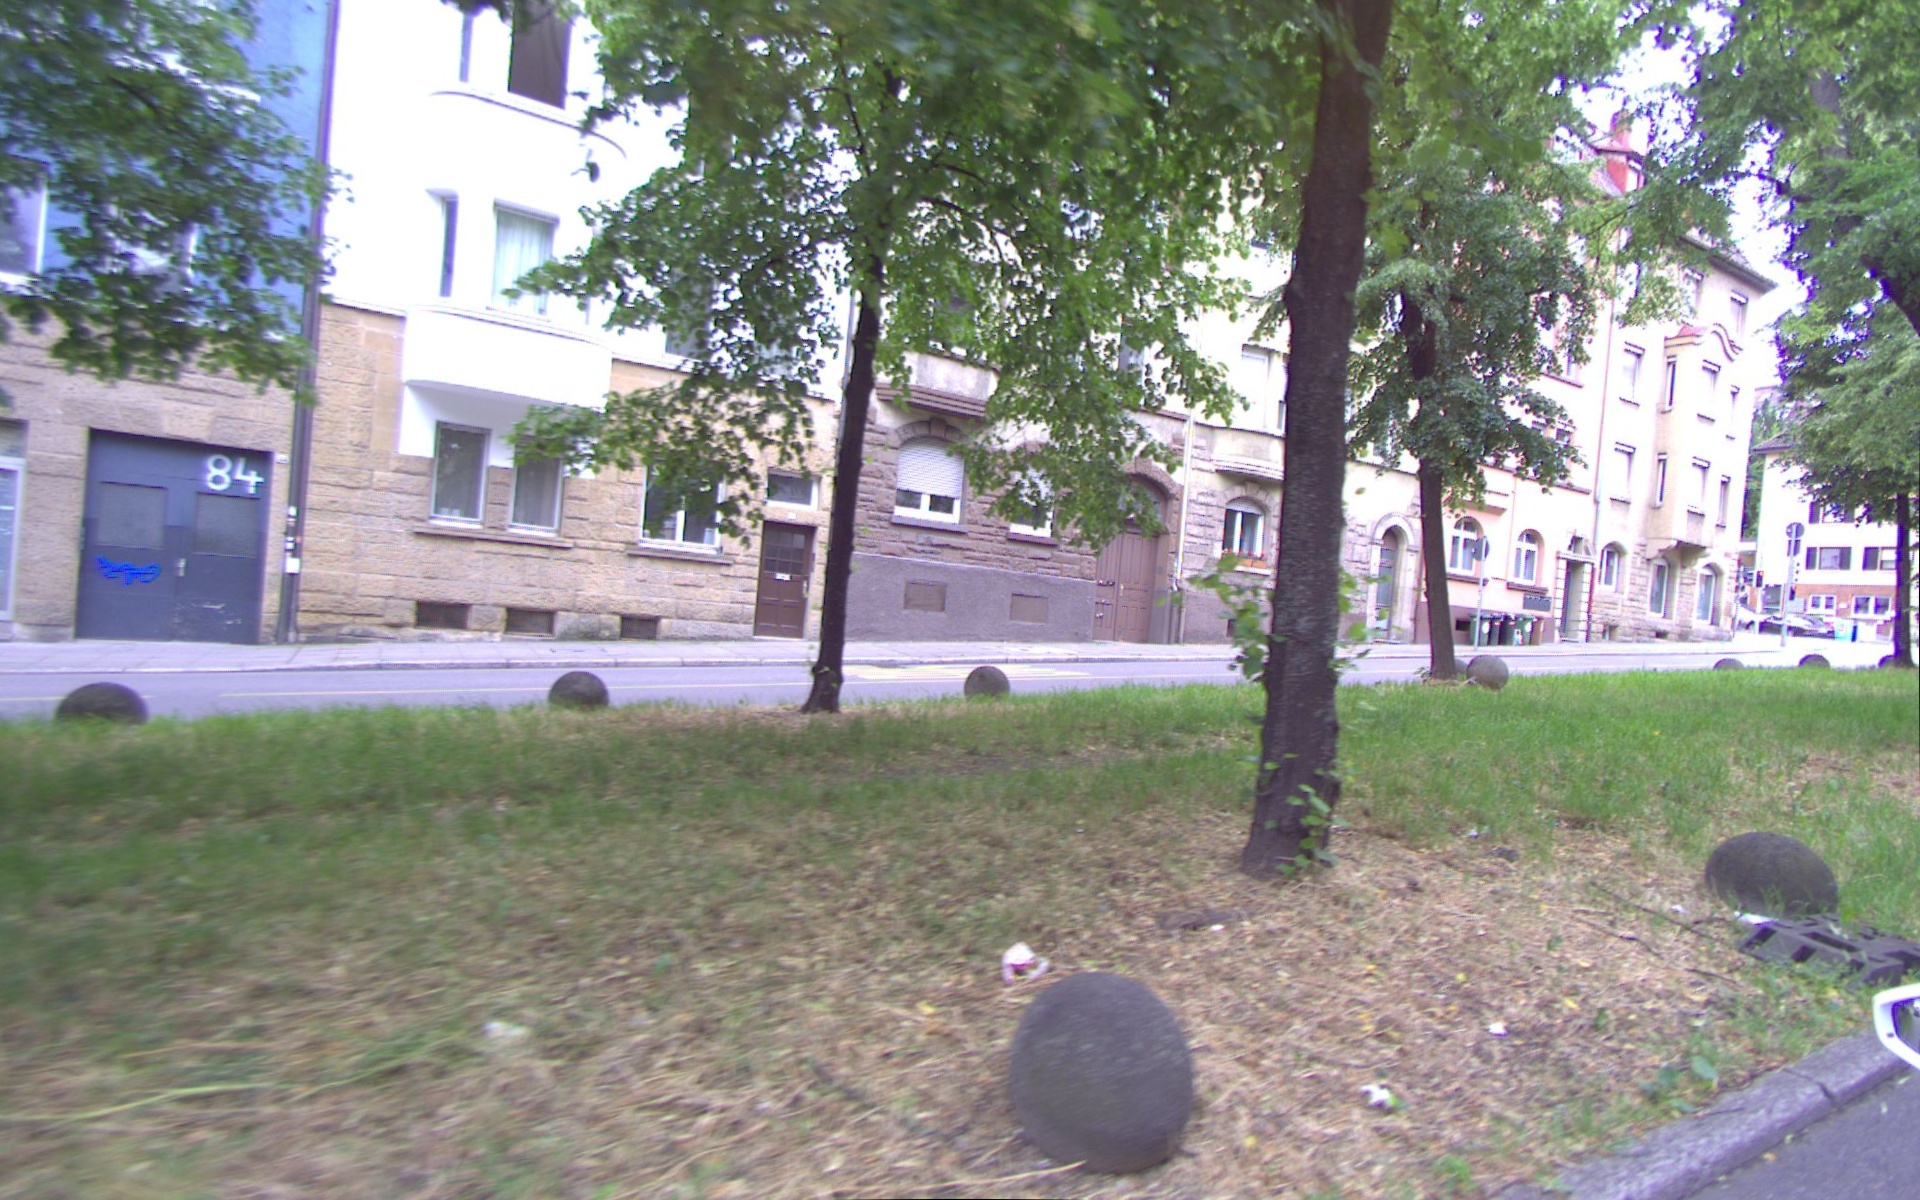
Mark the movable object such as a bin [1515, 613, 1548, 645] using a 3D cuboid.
[{"bbox_3d":[17.085,0.859,30.046,0.595,0.916,0.605,1,3,-34],"label":"movable object such as a bin"}]

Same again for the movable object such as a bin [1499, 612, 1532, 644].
[{"bbox_3d":[16.473,0.831,29.774,0.595,0.916,0.605,1,3,-34],"label":"movable object such as a bin"}]

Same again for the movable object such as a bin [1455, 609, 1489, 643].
[{"bbox_3d":[14.636,0.753,28.702,0.595,0.916,0.605,1,3,-34],"label":"movable object such as a bin"}]

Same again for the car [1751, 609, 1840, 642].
[{"bbox_3d":[47.816,1.412,57.578,1.845,1.687,4.001,4,0,4],"label":"car"}]

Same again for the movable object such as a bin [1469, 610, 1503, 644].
[{"bbox_3d":[15.182,0.781,29.012,0.595,0.916,0.605,1,3,-34],"label":"movable object such as a bin"}]

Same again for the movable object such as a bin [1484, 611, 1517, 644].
[{"bbox_3d":[15.788,0.810,29.343,0.595,0.916,0.605,1,3,-34],"label":"movable object such as a bin"}]
